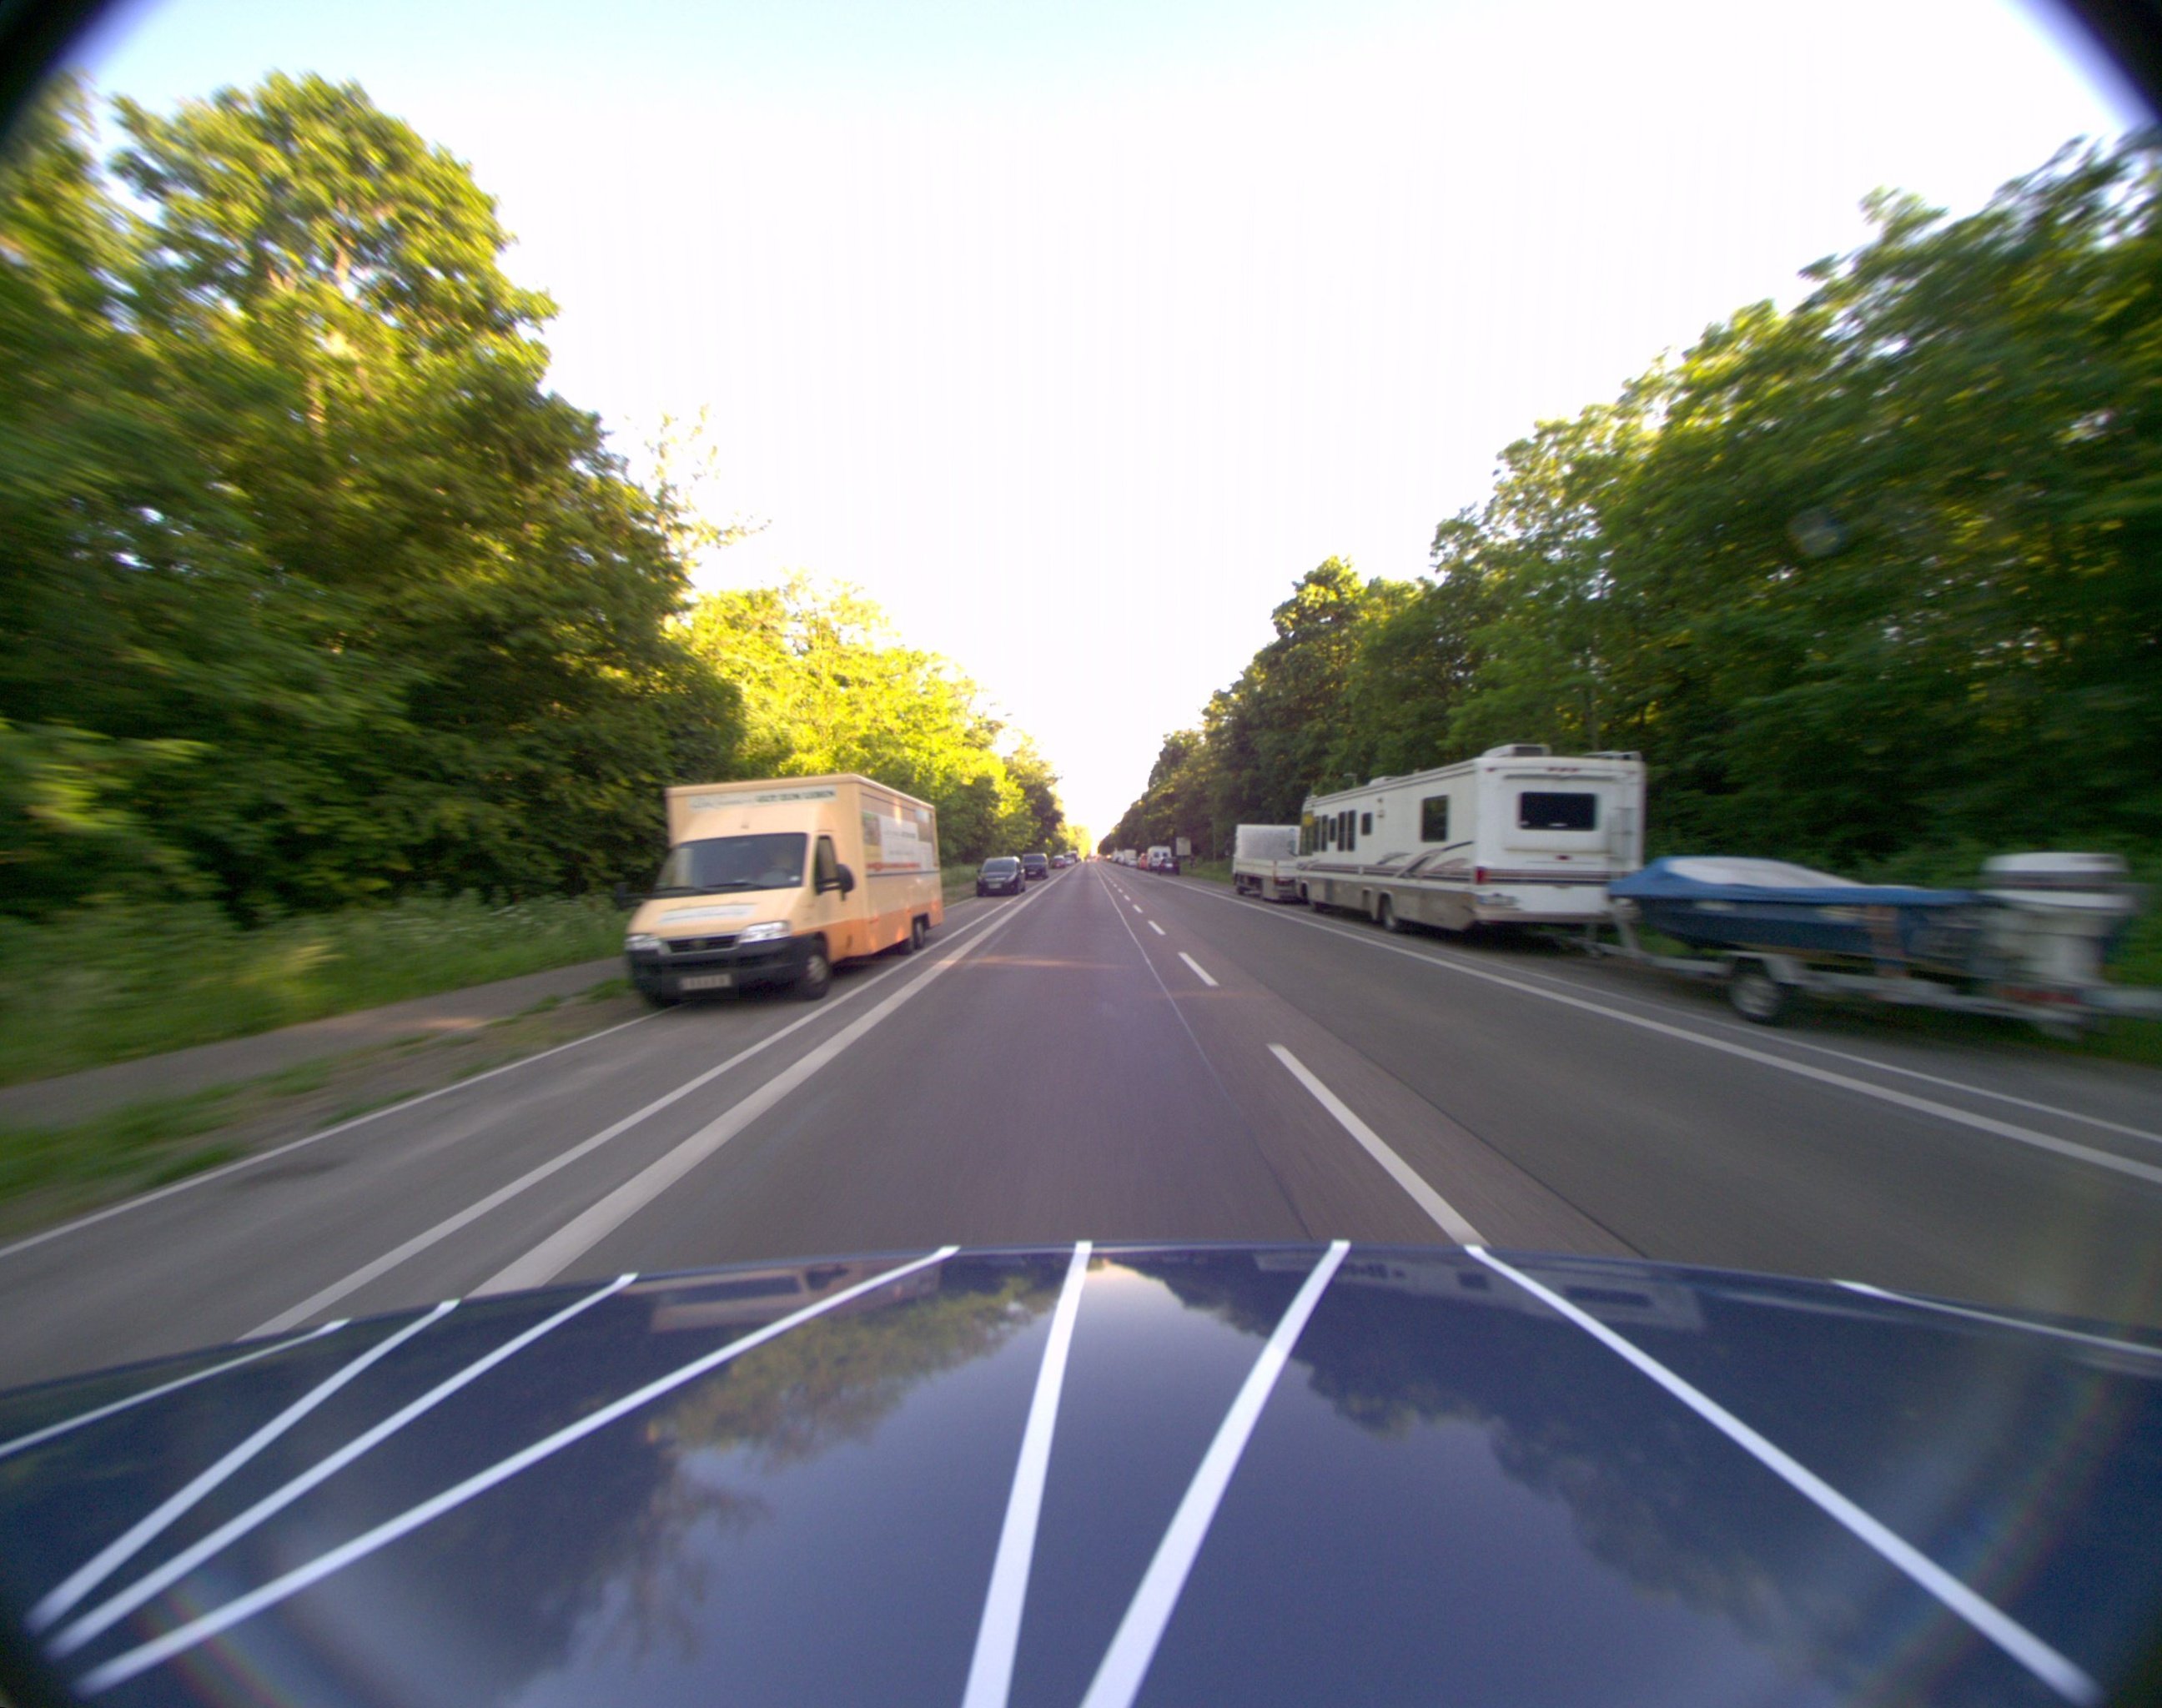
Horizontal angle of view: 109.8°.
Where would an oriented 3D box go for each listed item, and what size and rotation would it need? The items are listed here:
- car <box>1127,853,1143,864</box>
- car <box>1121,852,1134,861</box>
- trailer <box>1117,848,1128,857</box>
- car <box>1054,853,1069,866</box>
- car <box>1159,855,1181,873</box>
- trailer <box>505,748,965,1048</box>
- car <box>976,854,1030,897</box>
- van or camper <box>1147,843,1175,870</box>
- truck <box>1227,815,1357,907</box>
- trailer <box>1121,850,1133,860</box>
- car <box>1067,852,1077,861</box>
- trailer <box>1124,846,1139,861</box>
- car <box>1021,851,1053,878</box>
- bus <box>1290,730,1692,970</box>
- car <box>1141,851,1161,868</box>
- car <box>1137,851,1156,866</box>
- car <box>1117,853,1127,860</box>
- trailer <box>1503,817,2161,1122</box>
[{"bbox_3d":[8.120,0.666,114.411,1.998,1.620,4.144,-1,0,1],"label":"car"},{"bbox_3d":[8.359,0.420,136.225,1.998,1.620,4.144,-1,0,1],"label":"car"},{"bbox_3d":[9.560,-0.277,176.668,2.306,1.972,3.999,-2,1,1],"label":"trailer"},{"bbox_3d":[-2.695,0.744,105.266,1.837,1.608,4.000,-1,0,1],"label":"car"},{"bbox_3d":[7.500,0.805,64.184,1.787,1.485,4.001,0,0,5],"label":"car"},{"bbox_3d":[-4.199,0.391,12.537,2.928,2.825,9.881,-4,1,0],"label":"trailer"},{"bbox_3d":[-3.348,0.888,33.535,1.804,1.681,4.601,-2,1,1],"label":"car"},{"bbox_3d":[7.969,0.245,76.396,2.253,2.599,5.984,-1,0,1],"label":"van or camper"},{"bbox_3d":[7.397,0.206,27.938,2.489,2.807,8.424,-1,0,1],"label":"truck"},{"bbox_3d":[8.574,0.130,143.022,1.998,1.776,3.999,-2,1,1],"label":"trailer"},{"bbox_3d":[-1.759,0.504,149.019,1.837,1.608,4.000,-1,0,1],"label":"car"},{"bbox_3d":[8.012,-0.146,121.165,1.998,2.227,3.999,-2,1,1],"label":"trailer"},{"bbox_3d":[-3.240,0.766,56.752,1.998,1.888,5.473,-1,0,1],"label":"car"},{"bbox_3d":[7.508,-0.110,16.665,2.835,3.411,11.199,-2,1,1],"label":"bus"},{"bbox_3d":[7.963,0.603,86.893,1.998,1.797,4.144,-1,0,1],"label":"car"},{"bbox_3d":[7.990,0.532,93.474,1.998,1.797,4.144,-1,0,1],"label":"car"},{"bbox_3d":[9.085,0.571,169.182,1.998,1.620,4.144,-1,0,1],"label":"car"},{"bbox_3d":[7.332,0.705,7.909,2.434,1.903,6.264,-1,0,1],"label":"trailer"}]
